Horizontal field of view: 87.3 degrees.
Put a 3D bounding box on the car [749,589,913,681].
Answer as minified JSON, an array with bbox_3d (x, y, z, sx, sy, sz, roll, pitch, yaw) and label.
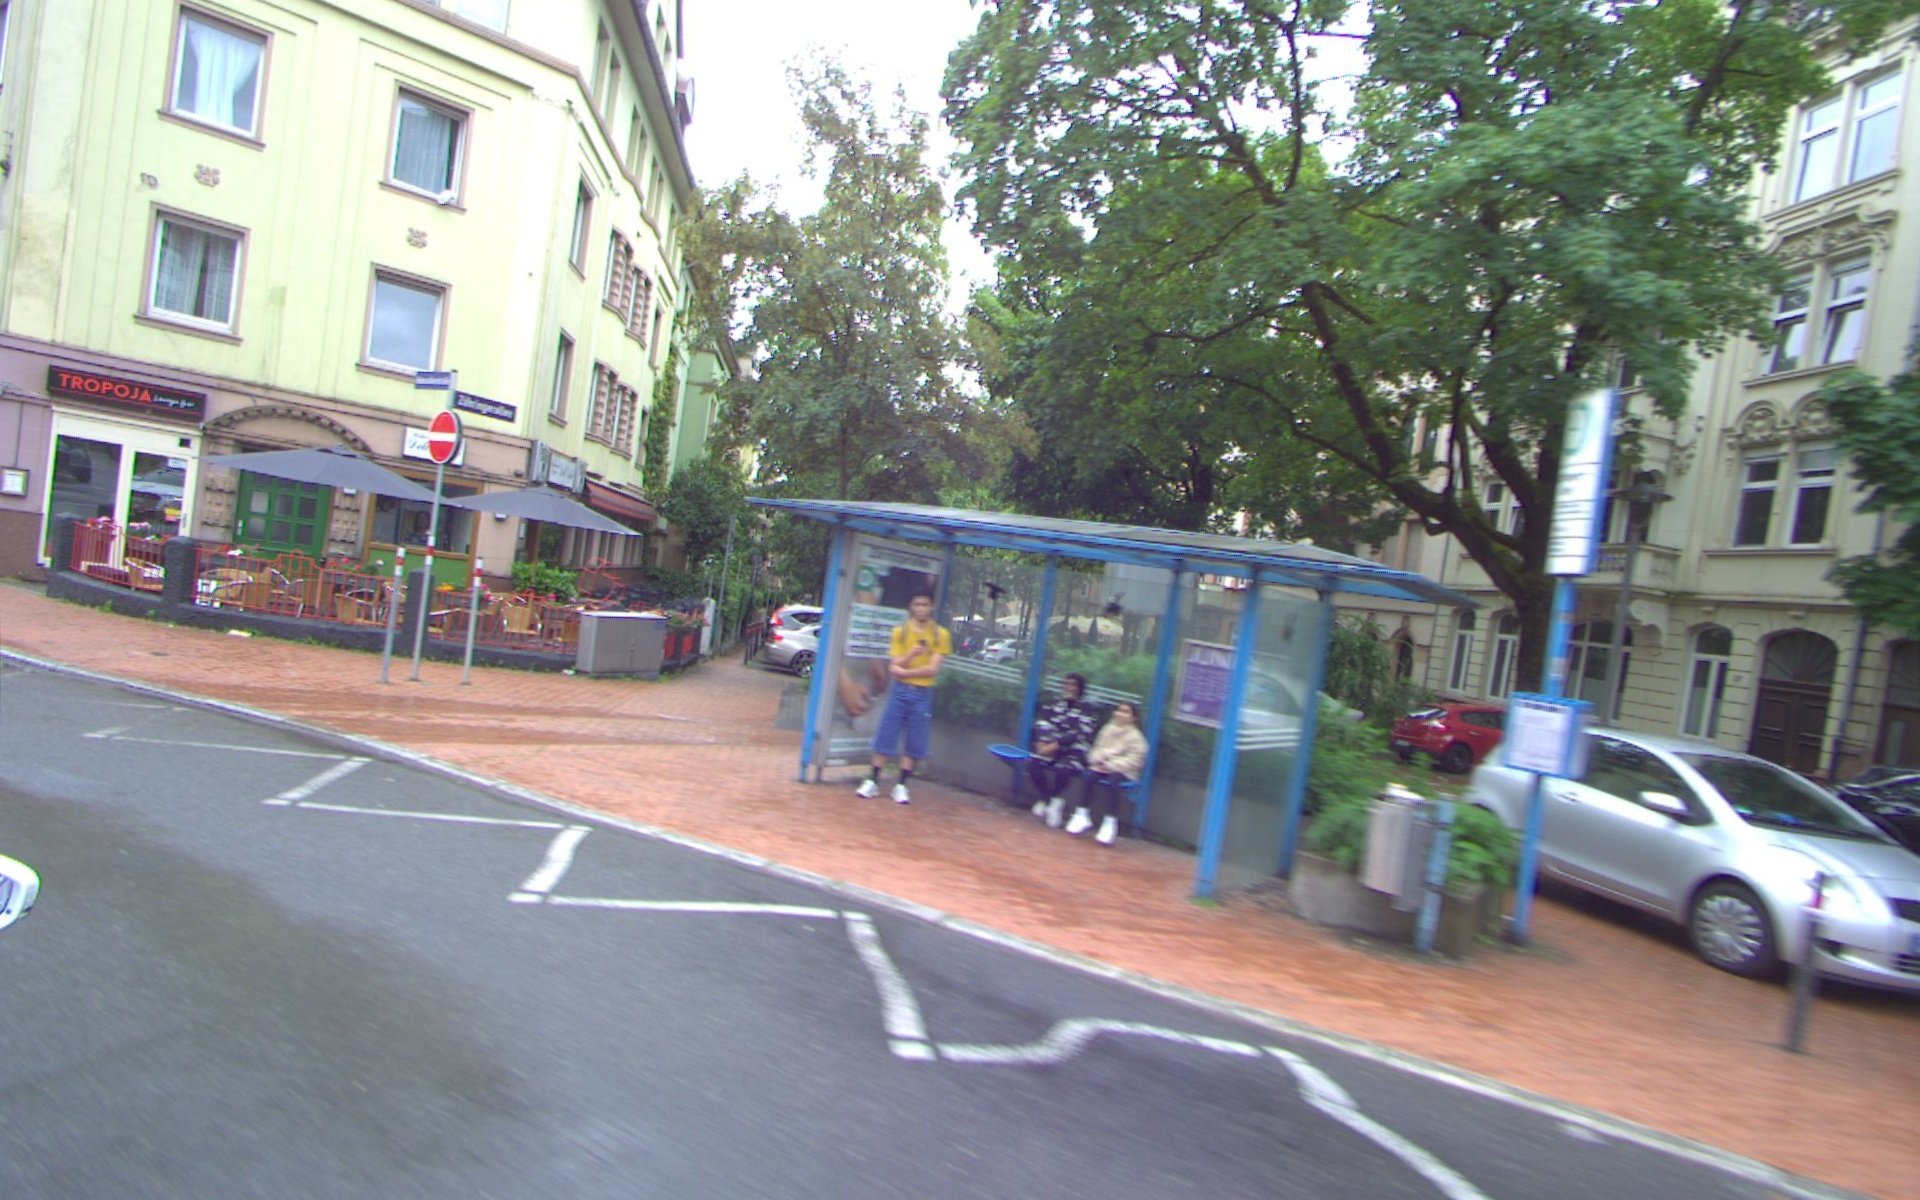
[{"bbox_3d":[-3.384,0.918,26.401,3.934,1.747,1.791,9,-2,-9],"label":"car"}]

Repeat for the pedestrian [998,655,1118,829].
[{"bbox_3d":[0.808,1.159,8.297,0.610,1.295,0.569,7,-1,43],"label":"pedestrian"}]

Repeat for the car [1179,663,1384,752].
[{"bbox_3d":[7.646,2.551,24.082,4.263,1.411,1.706,9,-2,-9],"label":"car"}]

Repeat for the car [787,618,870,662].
[{"bbox_3d":[-6.561,1.996,50.002,3.833,1.606,1.730,9,-2,-9],"label":"car"}]

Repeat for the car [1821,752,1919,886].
[{"bbox_3d":[13.253,2.980,12.270,1.759,1.493,3.811,10,-2,-37],"label":"car"}]

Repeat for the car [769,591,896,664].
[{"bbox_3d":[-4.289,0.937,33.769,3.934,1.809,1.791,9,-2,-9],"label":"car"}]

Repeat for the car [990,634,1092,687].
[{"bbox_3d":[3.200,2.379,39.930,3.591,1.554,1.679,9,-2,-9],"label":"car"}]

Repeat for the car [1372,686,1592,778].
[{"bbox_3d":[11.614,2.924,22.506,3.931,1.546,1.874,6,-1,-9],"label":"car"}]

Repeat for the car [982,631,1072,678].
[{"bbox_3d":[2.995,2.451,45.301,3.591,1.554,1.679,9,-2,-9],"label":"car"}]

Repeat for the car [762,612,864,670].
[{"bbox_3d":[-6.015,1.662,41.181,3.833,1.768,1.791,9,-2,-9],"label":"car"}]

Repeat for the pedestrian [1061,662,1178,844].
[{"bbox_3d":[1.250,1.184,7.878,0.527,1.295,0.569,7,-1,41],"label":"pedestrian"}]

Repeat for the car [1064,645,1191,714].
[{"bbox_3d":[5.452,2.593,32.953,3.591,1.685,1.588,9,-2,-9],"label":"car"}]

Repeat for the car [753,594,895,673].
[{"bbox_3d":[-4.092,0.995,30.335,3.934,1.747,1.791,9,-2,-9],"label":"car"}]

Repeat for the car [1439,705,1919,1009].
[{"bbox_3d":[5.866,1.843,7.999,1.743,1.518,3.672,10,-3,-10],"label":"car"}]

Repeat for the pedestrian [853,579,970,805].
[{"bbox_3d":[-0.411,0.765,8.476,0.554,1.795,0.541,9,-1,-31],"label":"pedestrian"}]

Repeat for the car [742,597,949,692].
[{"bbox_3d":[-2.736,1.062,24.044,4.571,1.545,1.791,9,-2,-9],"label":"car"}]

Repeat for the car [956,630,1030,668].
[{"bbox_3d":[1.779,2.659,55.014,3.591,1.554,1.679,9,-2,-9],"label":"car"}]
